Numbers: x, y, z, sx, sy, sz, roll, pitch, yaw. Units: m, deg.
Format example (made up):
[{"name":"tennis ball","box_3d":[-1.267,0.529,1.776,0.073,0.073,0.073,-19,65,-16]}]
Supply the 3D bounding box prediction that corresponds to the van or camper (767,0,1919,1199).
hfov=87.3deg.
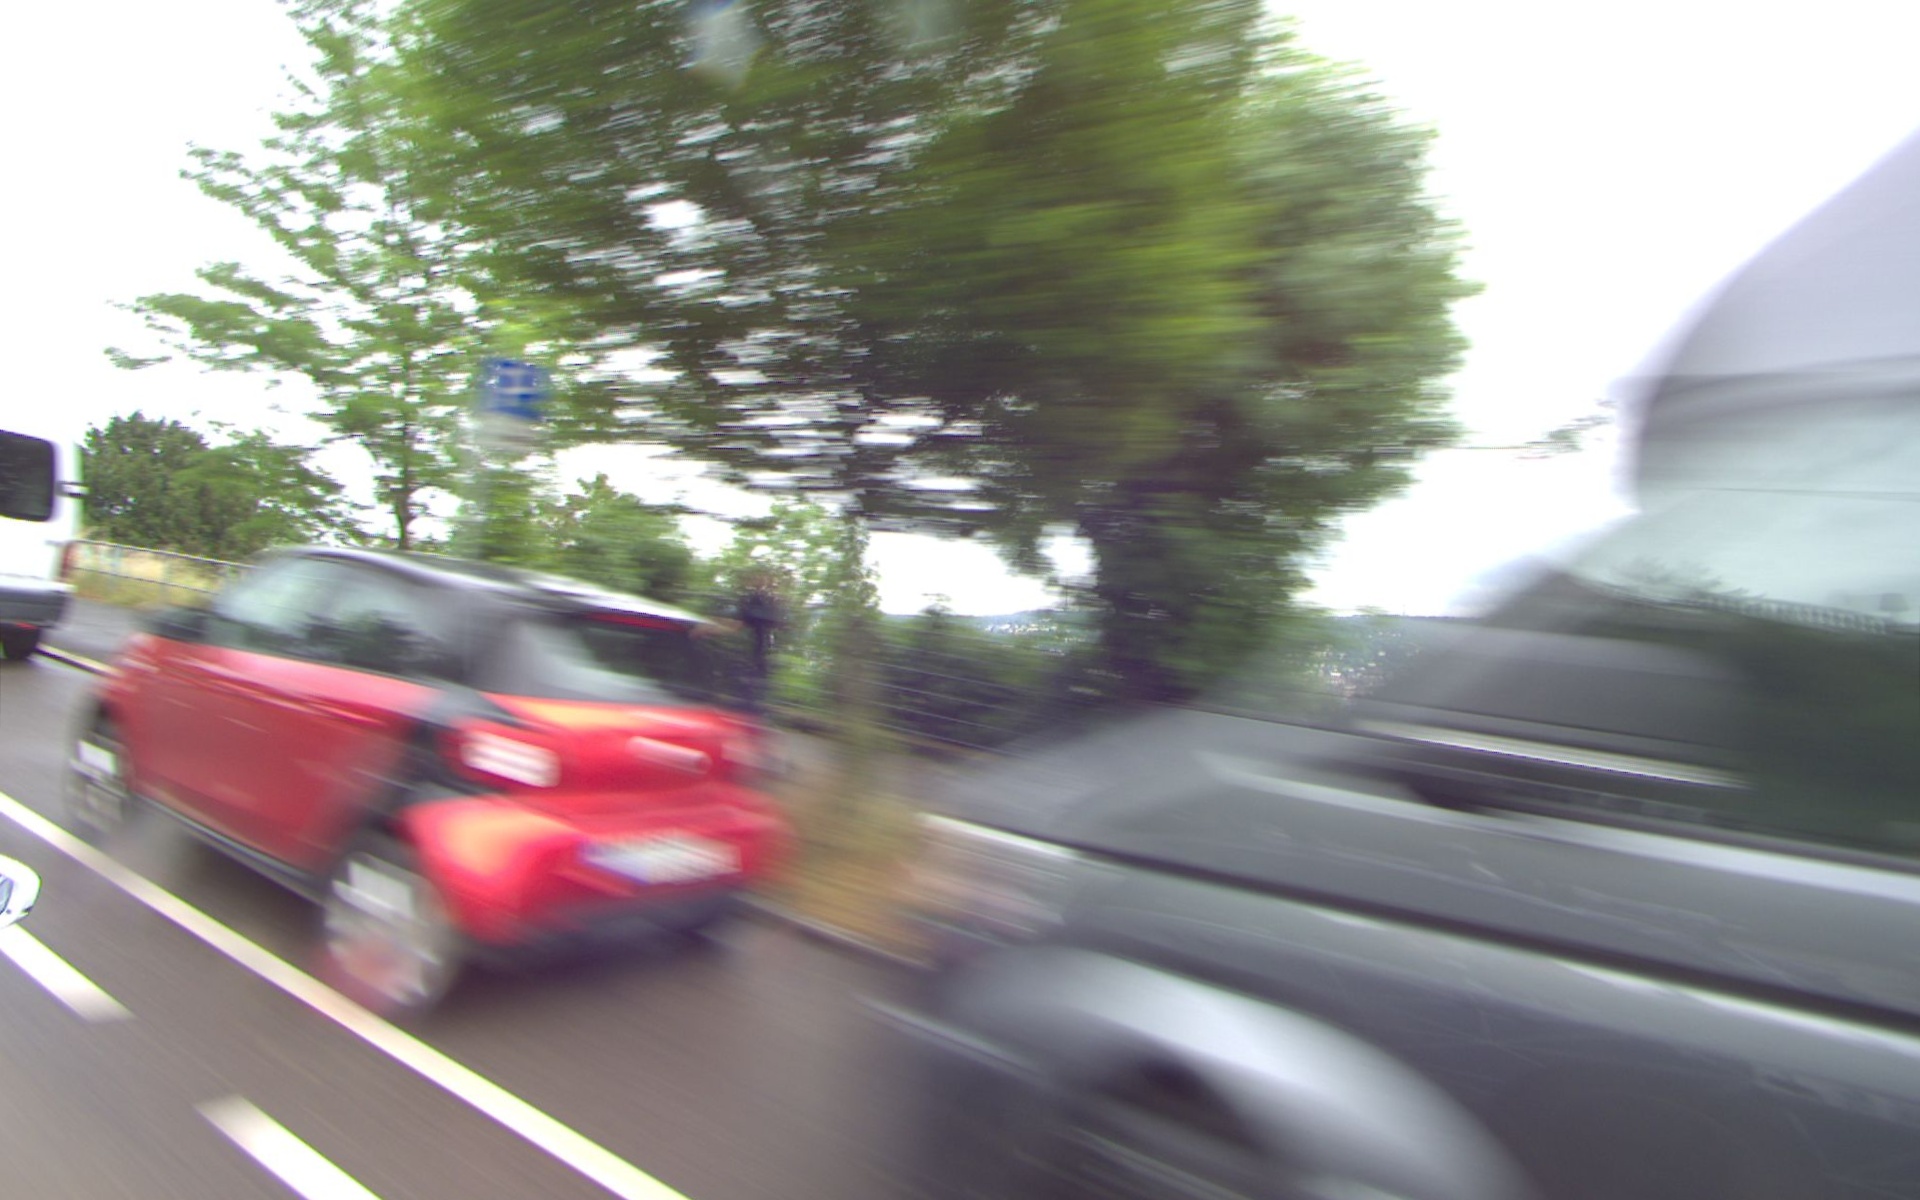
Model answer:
[{"name":"van or camper","box_3d":[2.650,0.488,1.630,5.633,2.944,2.128,7,-1,32]}]

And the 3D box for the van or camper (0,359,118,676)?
[{"name":"van or camper","box_3d":[-10.780,-1.015,9.836,5.503,2.692,2.077,7,-1,32]}]

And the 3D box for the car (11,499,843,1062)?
[{"name":"car","box_3d":[-2.645,0.531,4.788,3.769,1.558,1.685,7,-1,31]}]
